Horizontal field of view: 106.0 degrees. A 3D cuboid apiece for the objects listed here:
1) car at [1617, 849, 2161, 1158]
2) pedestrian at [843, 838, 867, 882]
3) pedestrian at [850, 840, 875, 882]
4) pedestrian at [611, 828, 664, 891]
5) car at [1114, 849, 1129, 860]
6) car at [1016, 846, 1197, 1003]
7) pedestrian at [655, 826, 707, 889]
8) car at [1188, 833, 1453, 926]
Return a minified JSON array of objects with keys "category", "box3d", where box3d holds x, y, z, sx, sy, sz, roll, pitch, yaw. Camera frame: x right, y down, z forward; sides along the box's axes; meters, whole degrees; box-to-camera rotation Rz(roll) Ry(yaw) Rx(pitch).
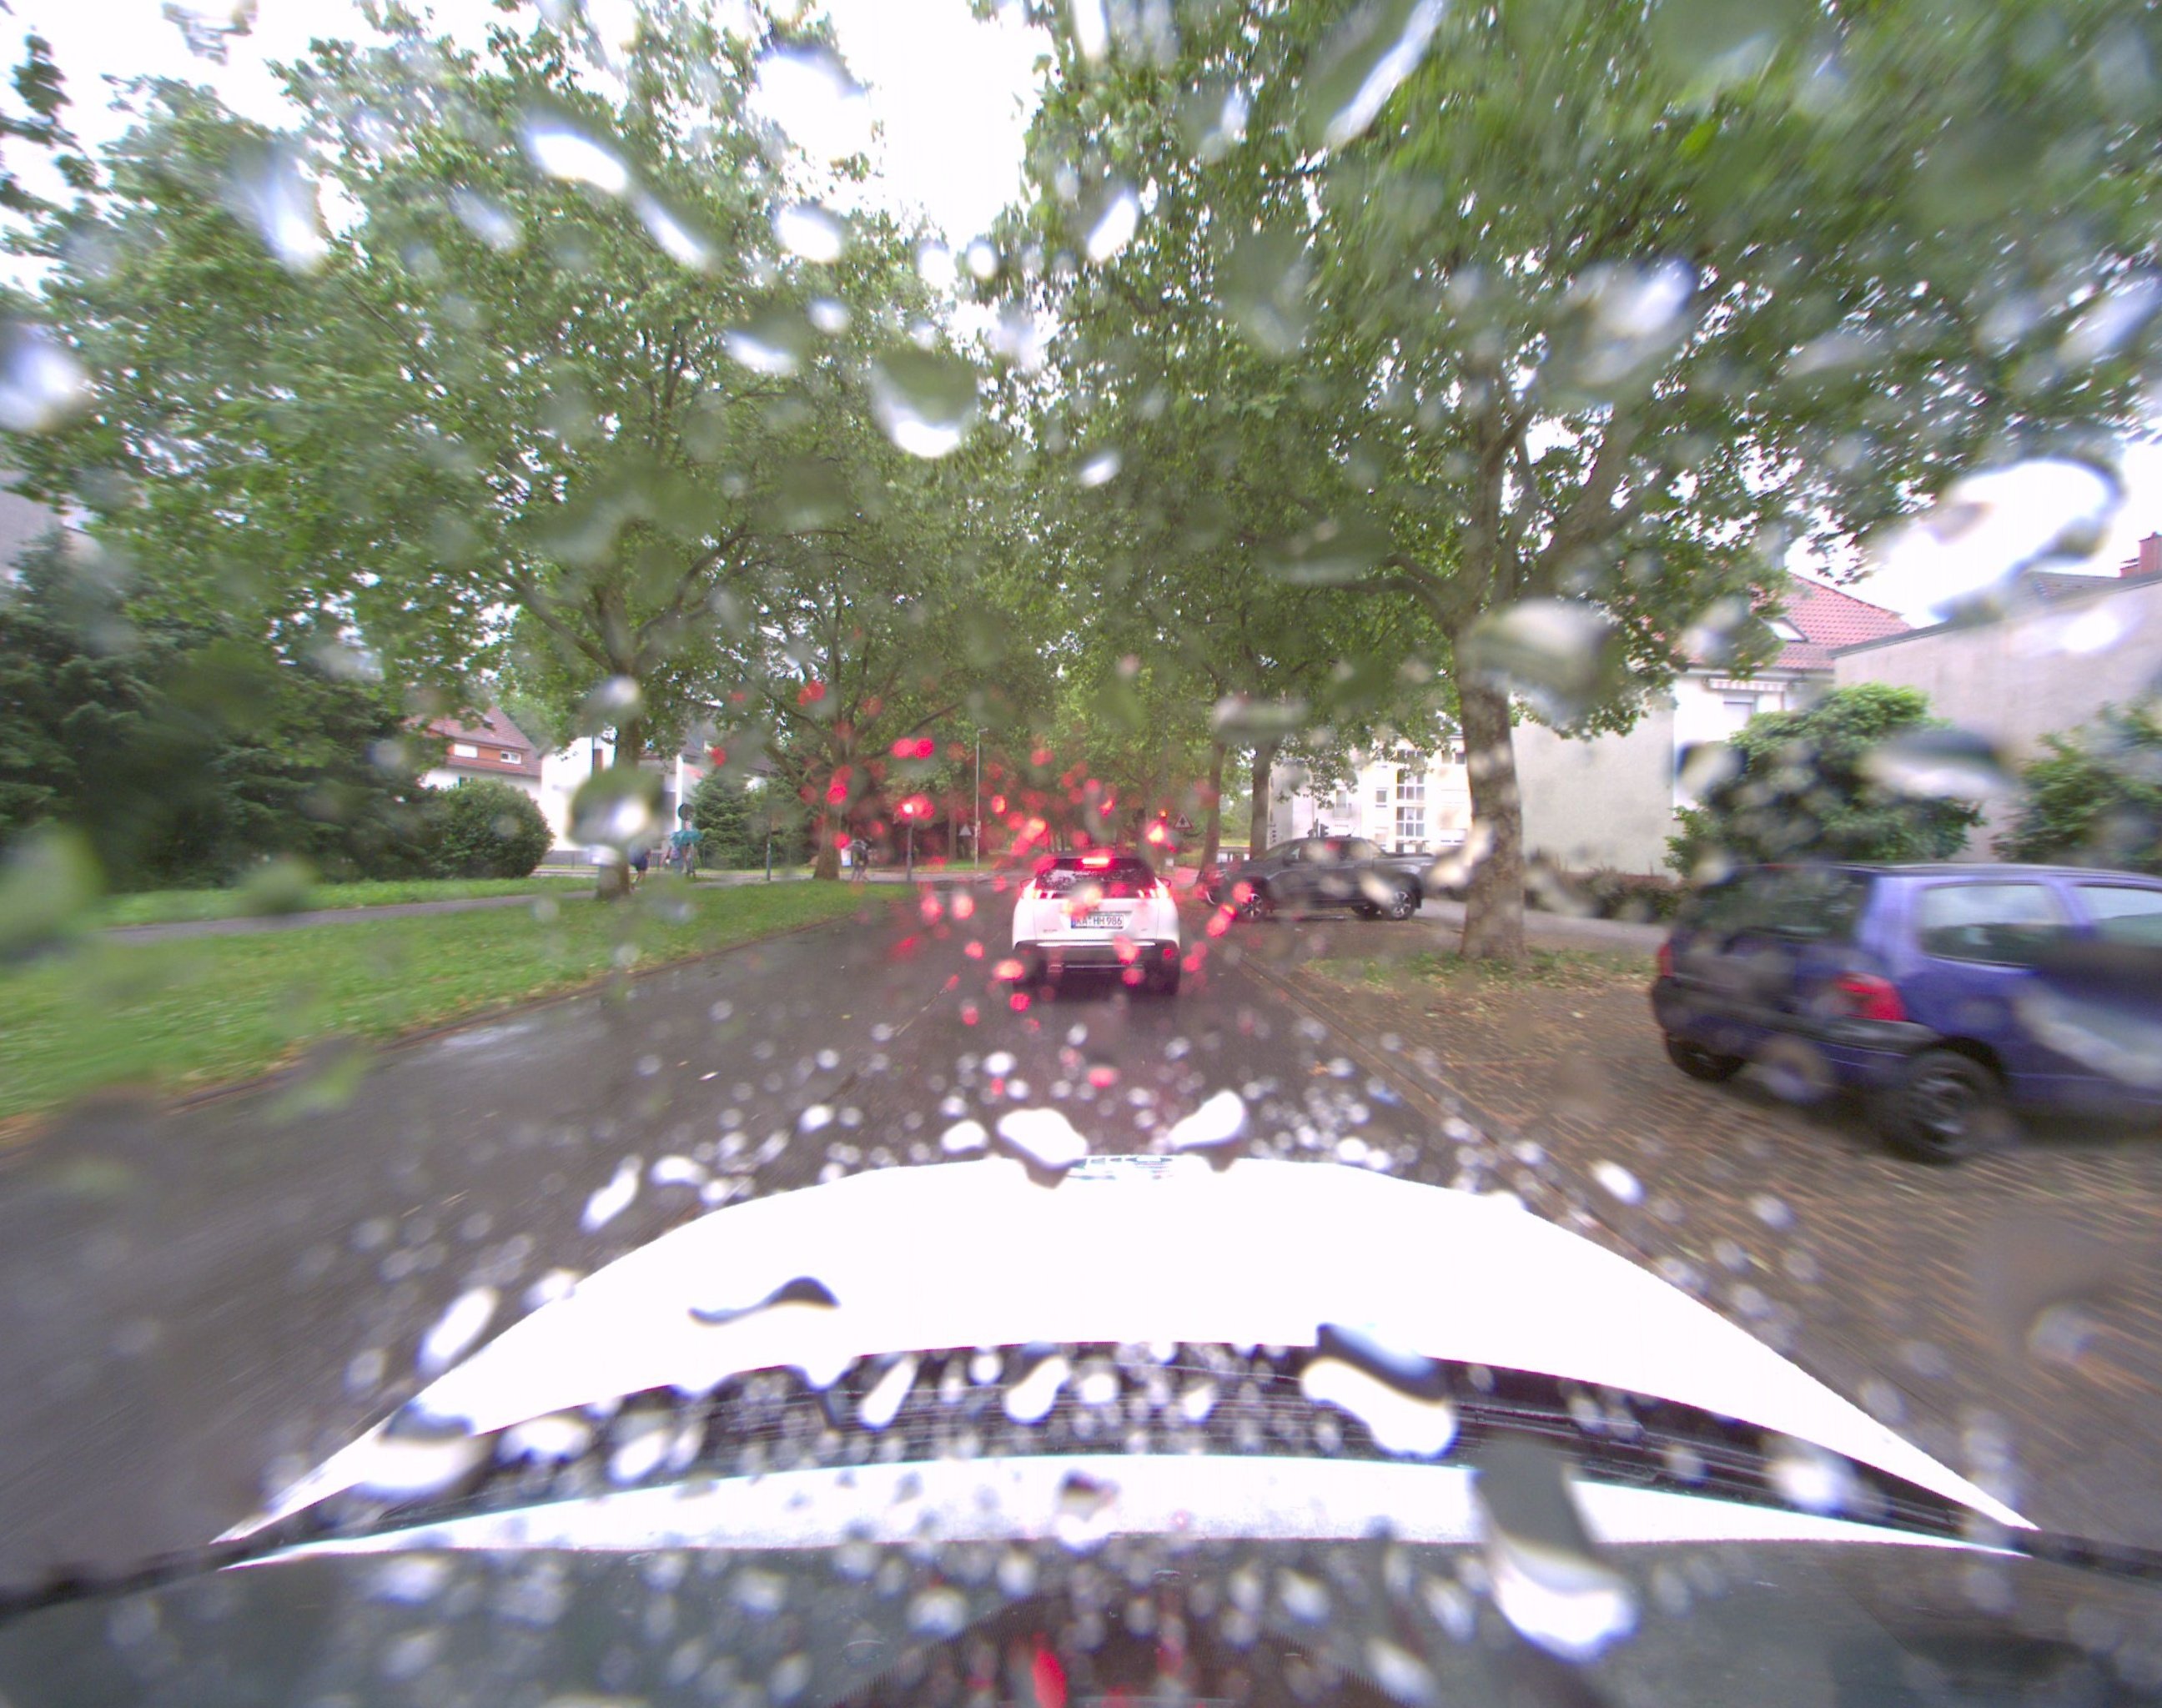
[{"category":"car","box3d":[5.278,0.711,4.691,3.344,1.464,1.619,0,0,0]},{"category":"pedestrian","box3d":[-9.279,0.241,33.446,0.818,1.744,0.639,1,0,-2]},{"category":"pedestrian","box3d":[-9.221,0.288,34.424,0.856,1.744,0.639,1,0,-2]},{"category":"pedestrian","box3d":[-12.651,0.160,23.251,1.029,1.765,0.879,0,0,1]},{"category":"car","box3d":[5.642,0.110,113.844,1.901,1.510,3.928,0,0,-2]},{"category":"car","box3d":[0.300,0.670,10.005,1.774,1.536,4.059,0,1,1]},{"category":"pedestrian","box3d":[-11.448,0.105,23.333,1.029,1.765,0.838,0,0,1]},{"category":"car","box3d":[5.198,0.503,18.027,5.330,1.806,1.842,-1,1,-6]}]
